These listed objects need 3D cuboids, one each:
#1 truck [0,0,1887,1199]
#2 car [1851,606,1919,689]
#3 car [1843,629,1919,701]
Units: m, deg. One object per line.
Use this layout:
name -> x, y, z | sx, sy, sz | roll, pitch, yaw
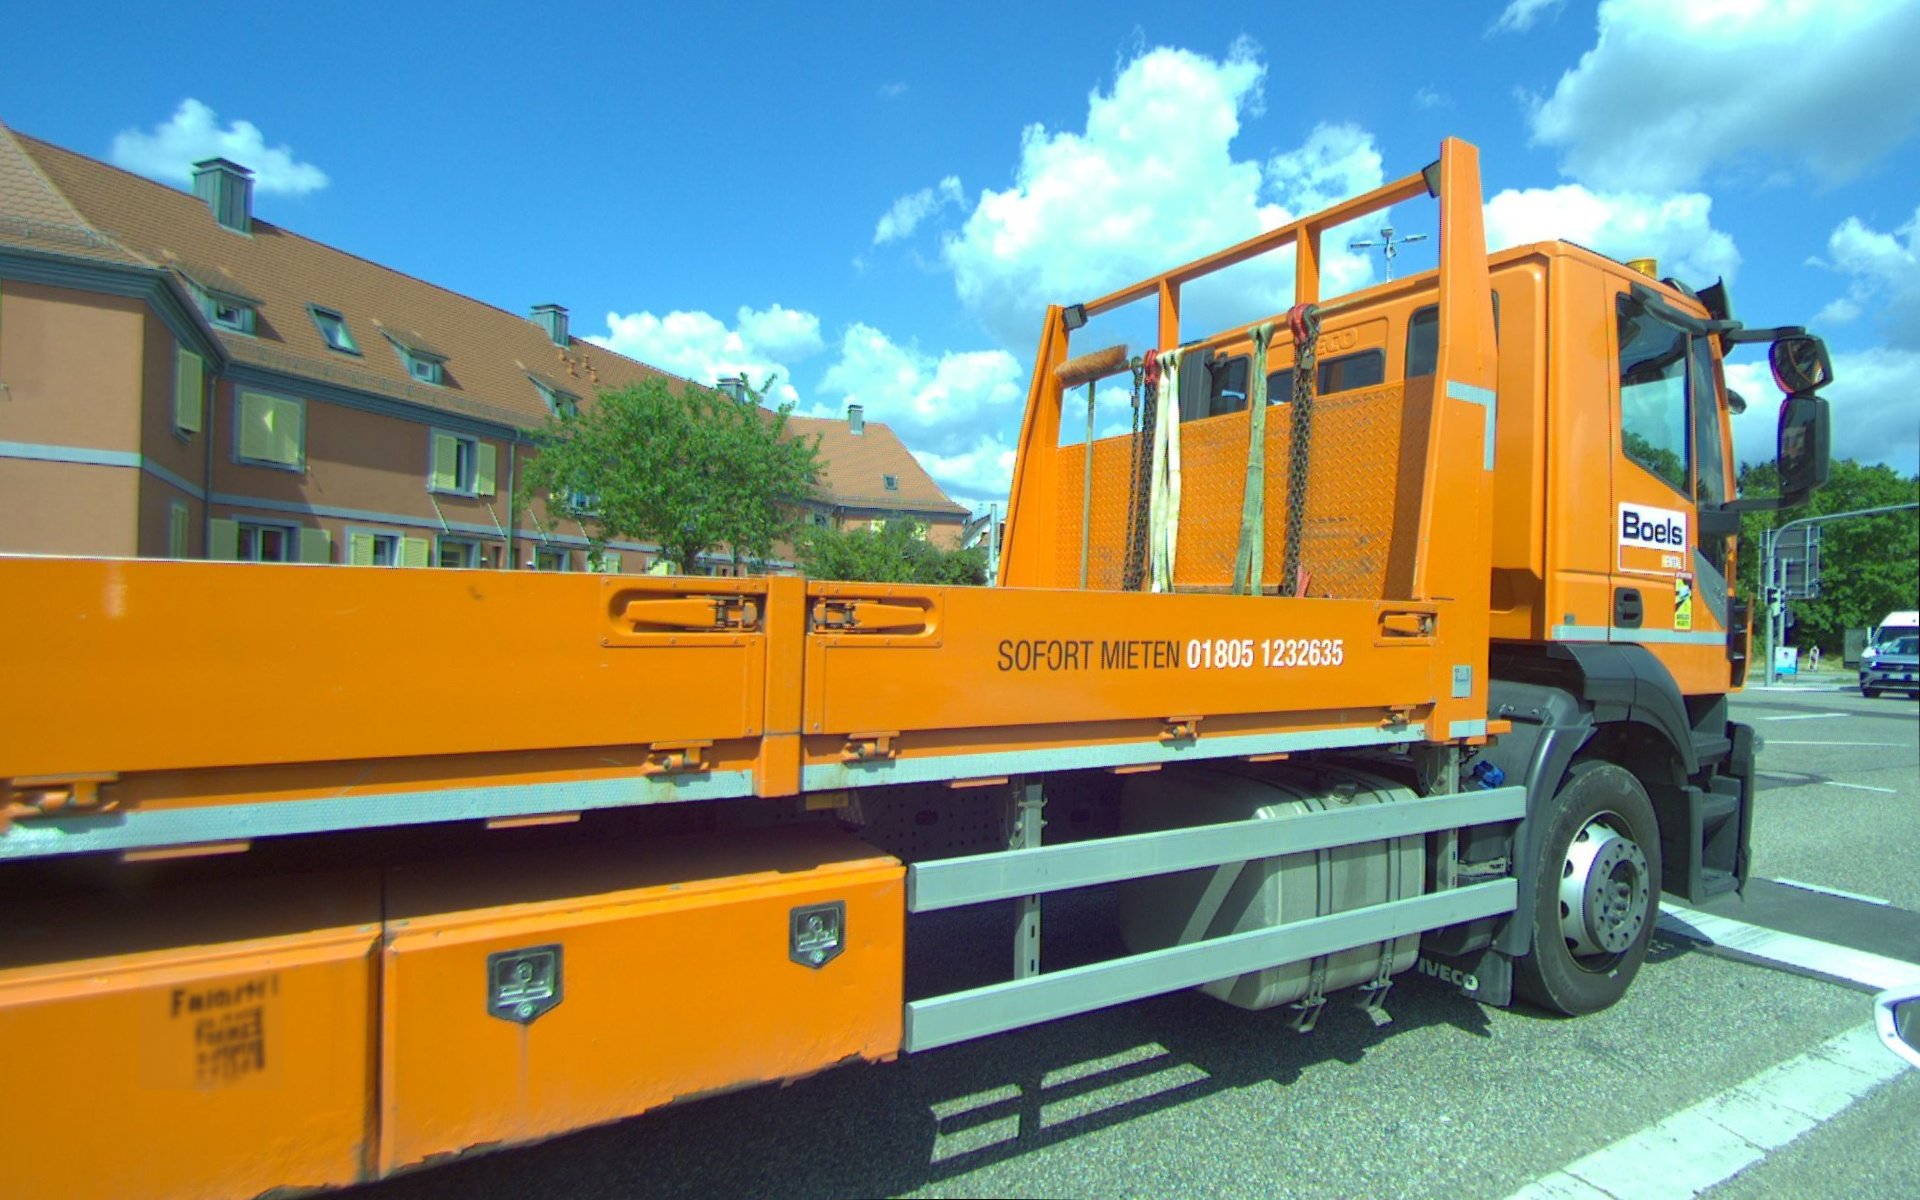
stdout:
truck -> -1.706, -0.365, 2.718 | 10.940, 3.459, 3.055 | 3, 1, -31
car -> 32.065, 1.590, 32.912 | 5.889, 2.504, 2.166 | 3, 1, -26
car -> 23.748, 1.612, 24.529 | 4.252, 1.564, 1.729 | 3, 1, -26
